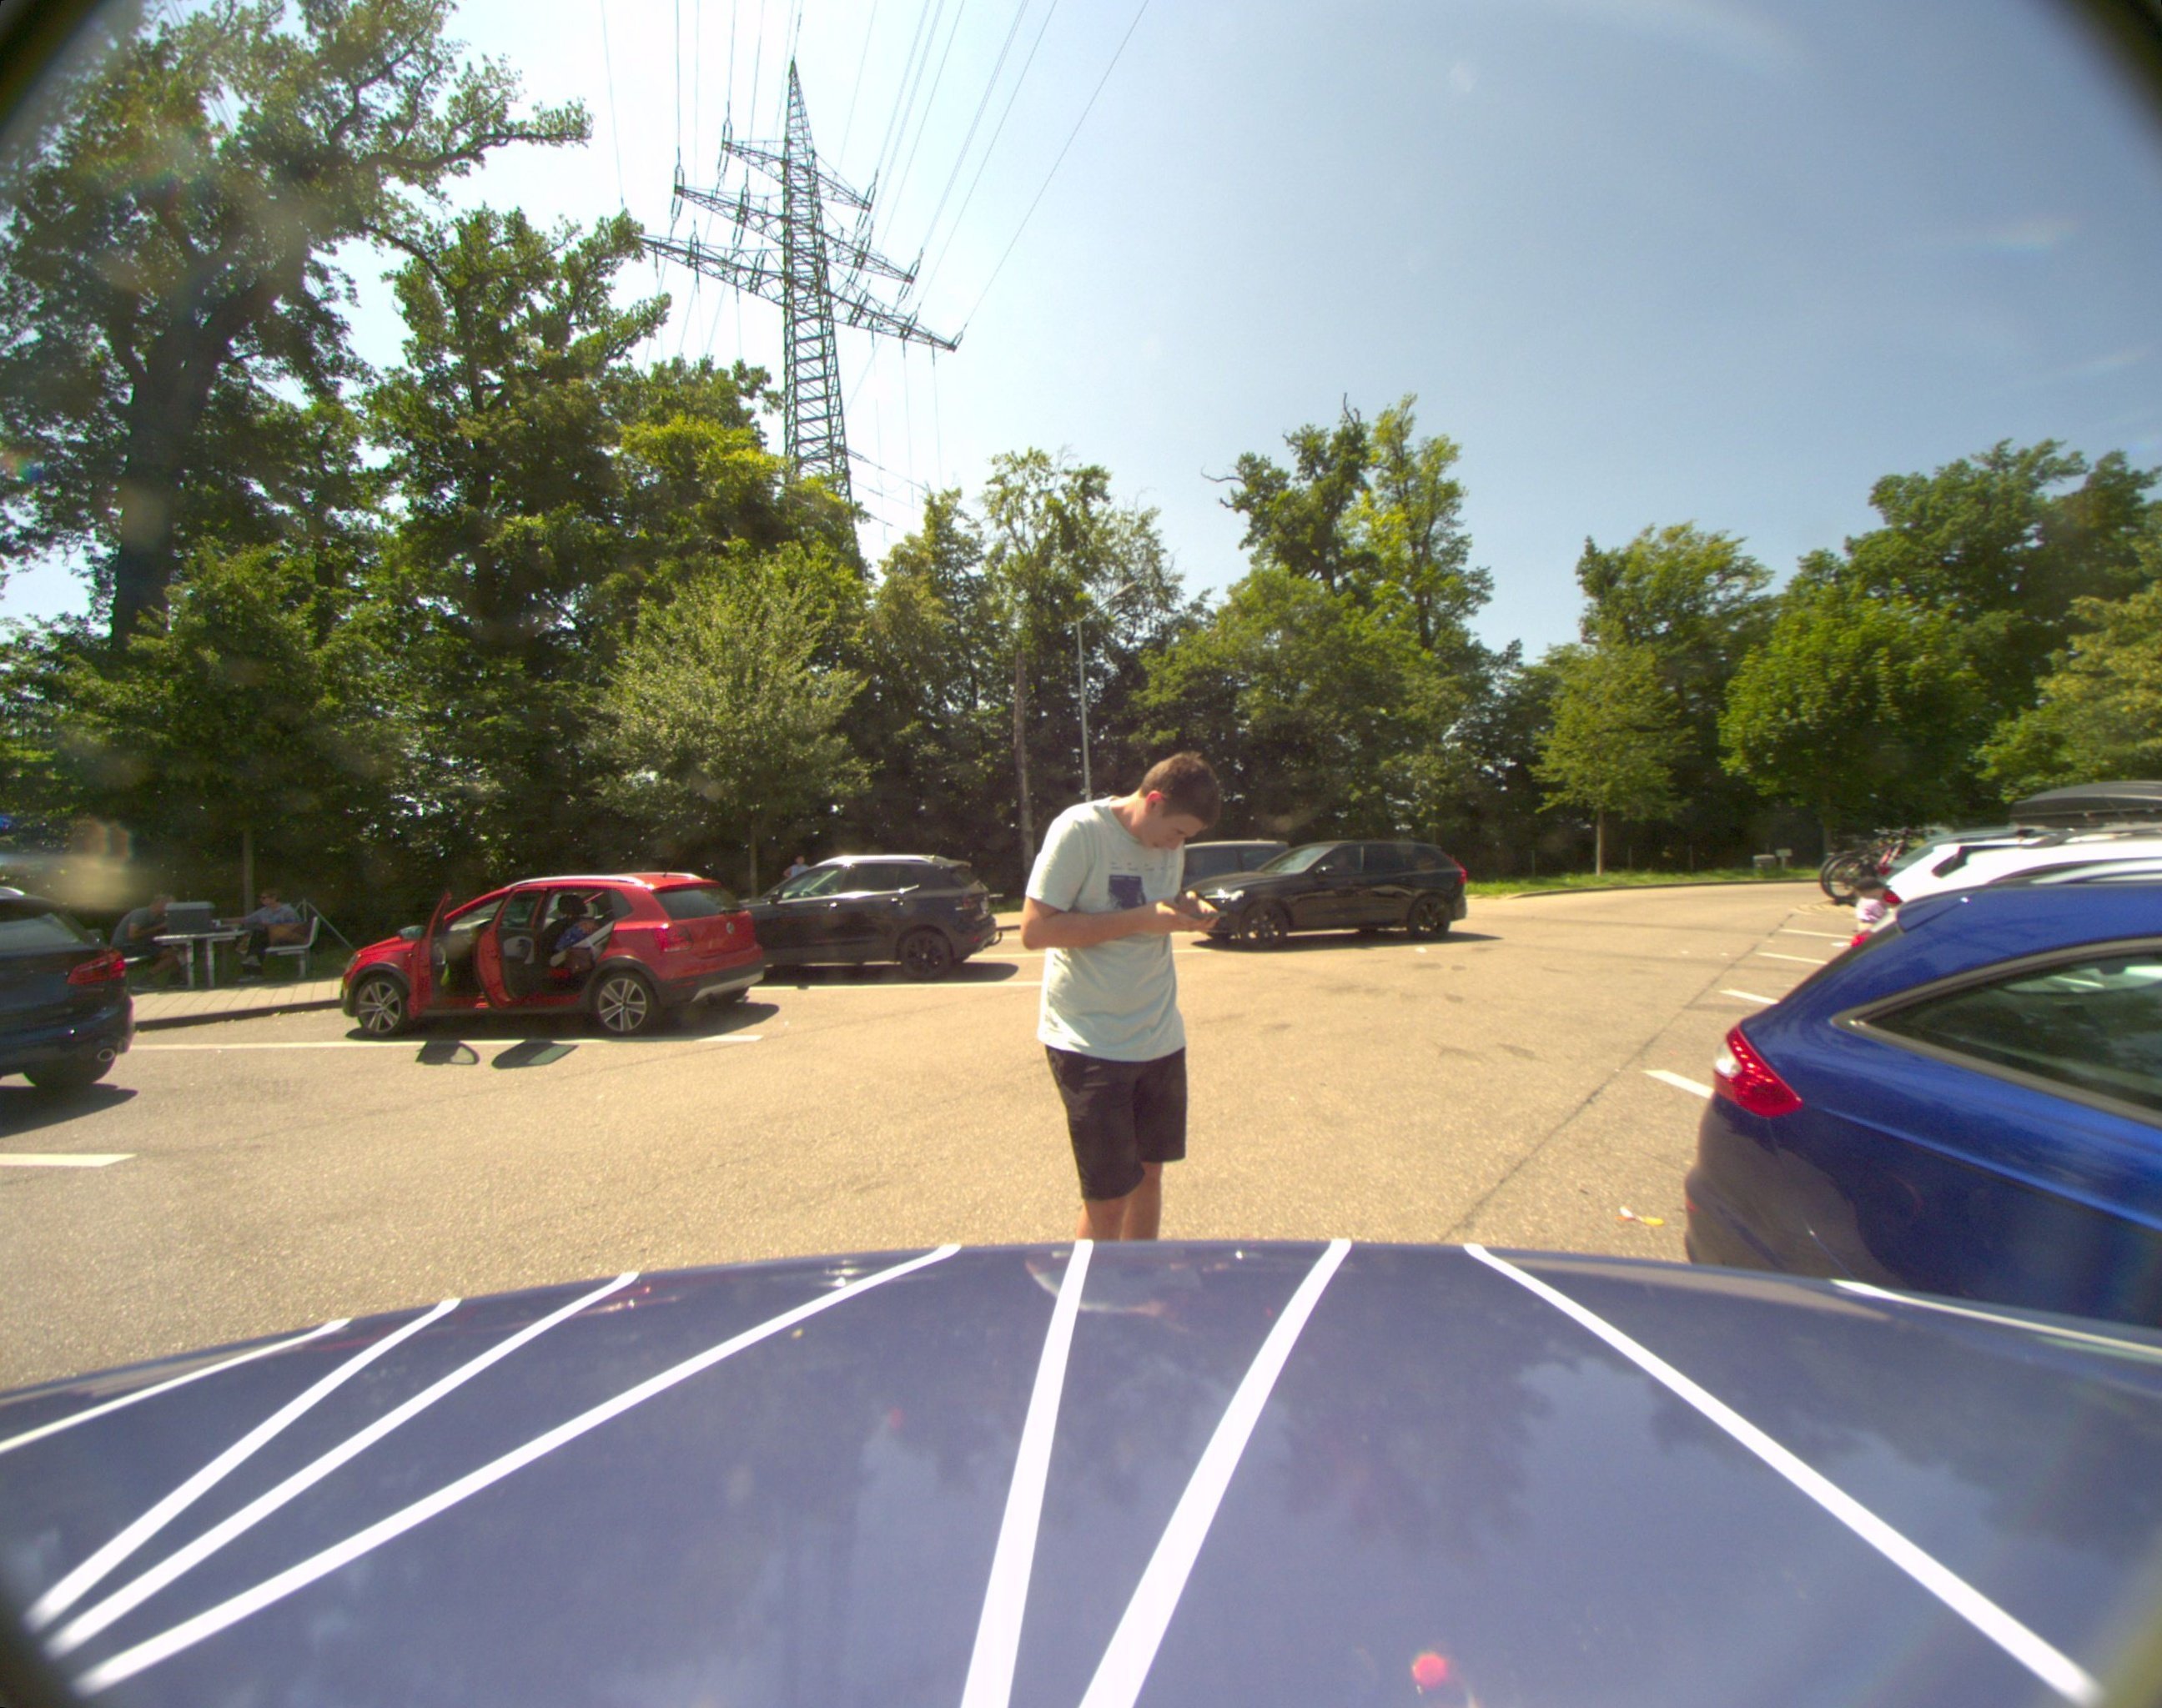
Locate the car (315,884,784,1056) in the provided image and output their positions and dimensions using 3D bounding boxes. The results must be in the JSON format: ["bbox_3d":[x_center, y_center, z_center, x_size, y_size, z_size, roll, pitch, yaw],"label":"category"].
[{"bbox_3d":[-5.179,1.096,7.651,3.730,1.440,1.591,-2,0,7],"label":"car"}]

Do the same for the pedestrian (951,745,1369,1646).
[{"bbox_3d":[0.173,0.723,2.086,0.862,1.940,0.687,-3,1,-20],"label":"pedestrian"}]

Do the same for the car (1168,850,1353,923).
[{"bbox_3d":[4.154,0.744,18.023,3.996,1.495,1.687,-2,1,3],"label":"car"}]

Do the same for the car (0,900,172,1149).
[{"bbox_3d":[-8.875,1.170,5.006,3.934,1.534,1.812,-2,0,7],"label":"car"}]

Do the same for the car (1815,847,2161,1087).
[{"bbox_3d":[7.485,0.675,4.526,1.776,1.418,4.495,-3,-1,-1],"label":"car"}]

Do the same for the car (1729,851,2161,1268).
[{"bbox_3d":[4.882,0.744,2.367,1.776,1.491,4.495,-3,-1,-1],"label":"car"}]

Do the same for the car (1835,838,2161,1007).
[{"bbox_3d":[10.119,0.571,6.912,1.777,1.418,4.493,-3,-1,-5],"label":"car"}]

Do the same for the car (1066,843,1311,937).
[{"bbox_3d":[2.150,0.714,15.485,4.619,1.701,1.740,-2,0,9],"label":"car"}]

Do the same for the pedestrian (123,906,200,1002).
[{"bbox_3d":[-12.621,1.348,10.453,0.695,1.228,0.588,-3,0,43],"label":"pedestrian"}]

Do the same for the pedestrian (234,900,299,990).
[{"bbox_3d":[-11.940,1.314,11.141,0.695,1.228,0.588,-3,0,43],"label":"pedestrian"}]

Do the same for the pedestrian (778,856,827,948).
[{"bbox_3d":[-5.751,0.973,15.699,0.767,1.821,0.519,-3,1,-36],"label":"pedestrian"}]

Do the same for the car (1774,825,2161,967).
[{"bbox_3d":[12.550,0.476,10.383,1.777,1.541,4.493,-3,-1,-5],"label":"car"}]

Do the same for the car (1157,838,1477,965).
[{"bbox_3d":[3.792,0.671,12.470,4.619,1.703,1.997,-2,1,-14],"label":"car"}]

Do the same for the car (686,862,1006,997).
[{"bbox_3d":[-3.022,0.953,10.328,3.732,1.578,1.739,-2,0,2],"label":"car"}]
